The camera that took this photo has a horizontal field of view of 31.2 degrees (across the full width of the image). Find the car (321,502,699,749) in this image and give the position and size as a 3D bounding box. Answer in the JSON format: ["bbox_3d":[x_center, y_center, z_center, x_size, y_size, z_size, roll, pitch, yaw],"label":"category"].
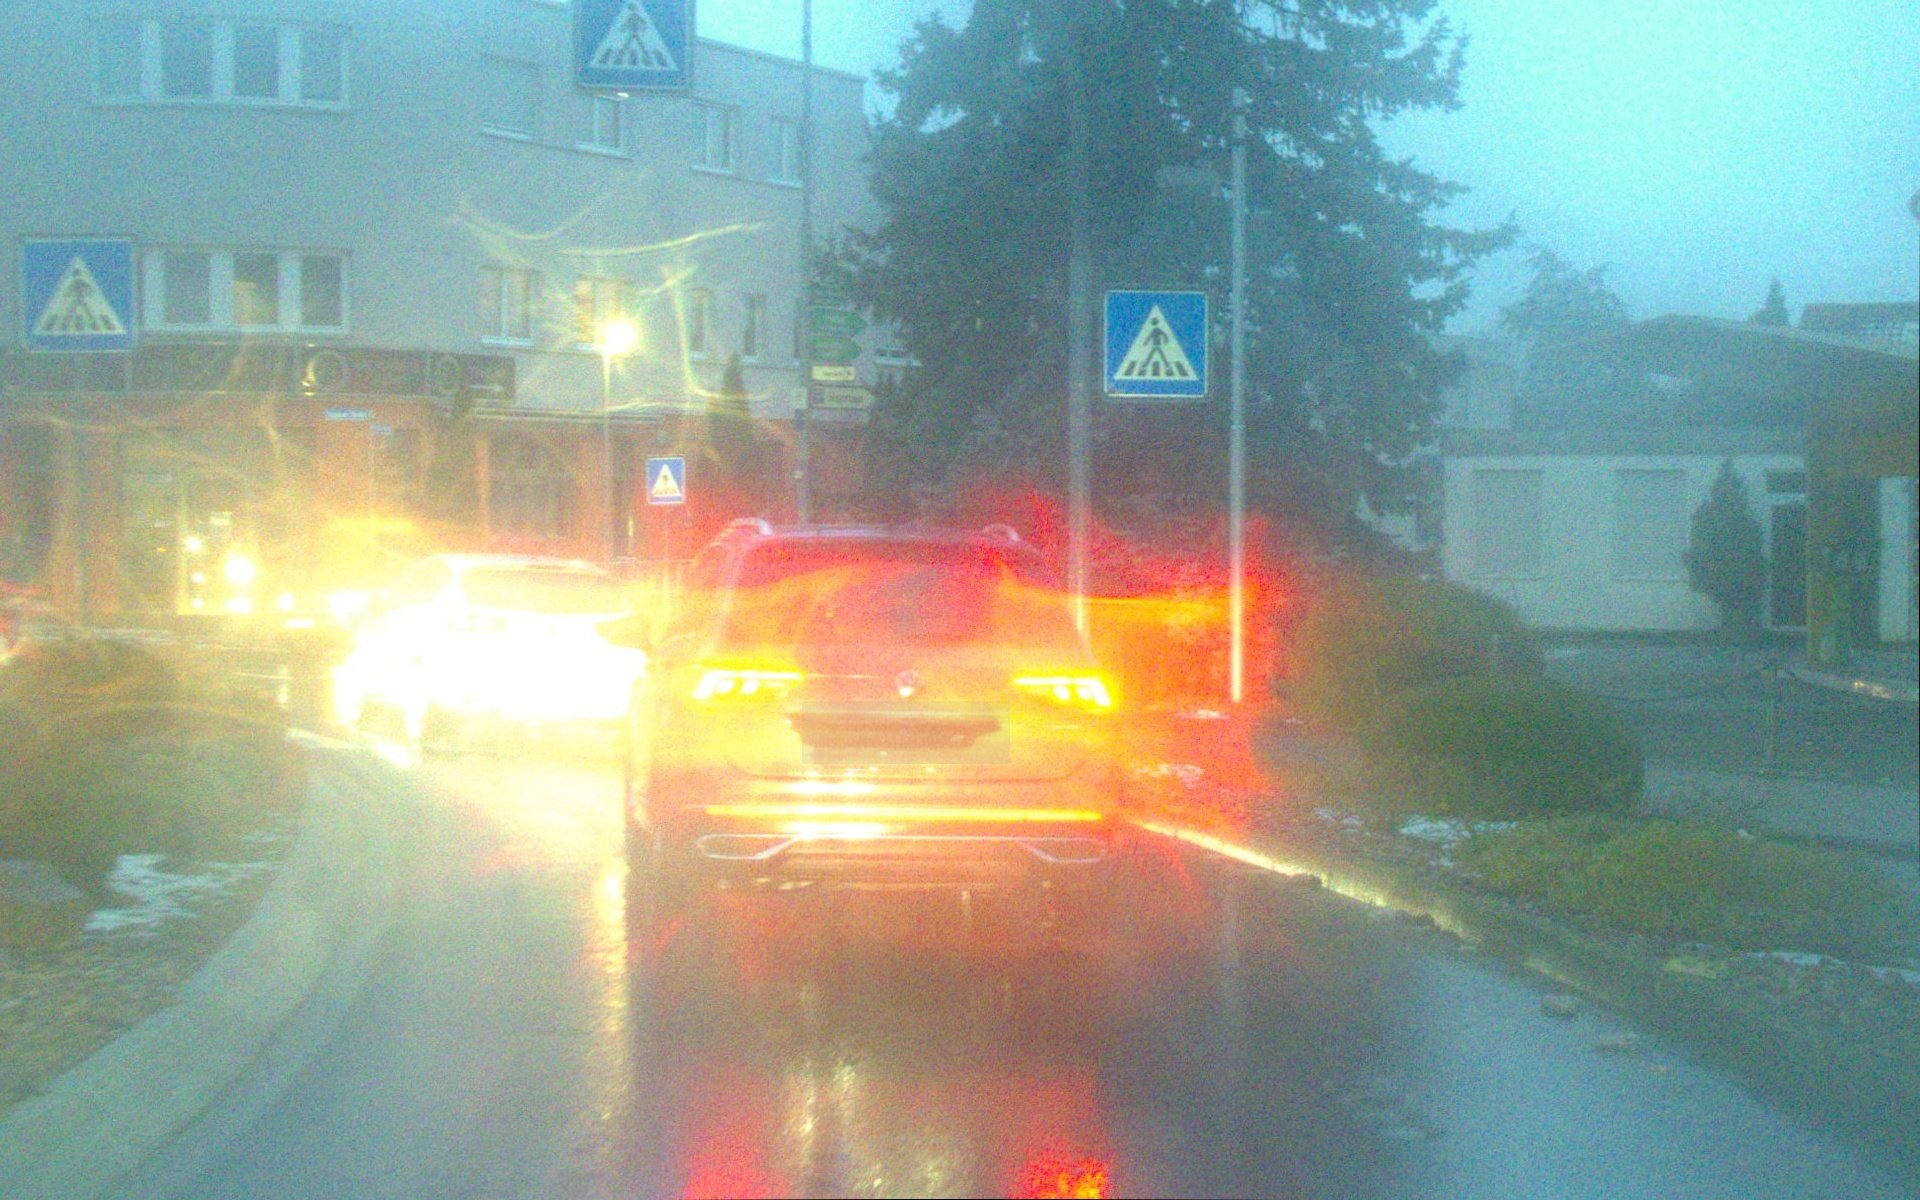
[{"bbox_3d":[-3.674,0.136,27.291,2.163,1.683,4.573,1,2,-18],"label":"car"}]

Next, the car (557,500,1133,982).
[{"bbox_3d":[-0.638,0.450,14.416,1.944,1.712,4.001,0,2,-9],"label":"car"}]

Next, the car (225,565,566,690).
[{"bbox_3d":[-7.671,0.332,47.080,1.906,1.566,4.562,3,2,36],"label":"car"}]
